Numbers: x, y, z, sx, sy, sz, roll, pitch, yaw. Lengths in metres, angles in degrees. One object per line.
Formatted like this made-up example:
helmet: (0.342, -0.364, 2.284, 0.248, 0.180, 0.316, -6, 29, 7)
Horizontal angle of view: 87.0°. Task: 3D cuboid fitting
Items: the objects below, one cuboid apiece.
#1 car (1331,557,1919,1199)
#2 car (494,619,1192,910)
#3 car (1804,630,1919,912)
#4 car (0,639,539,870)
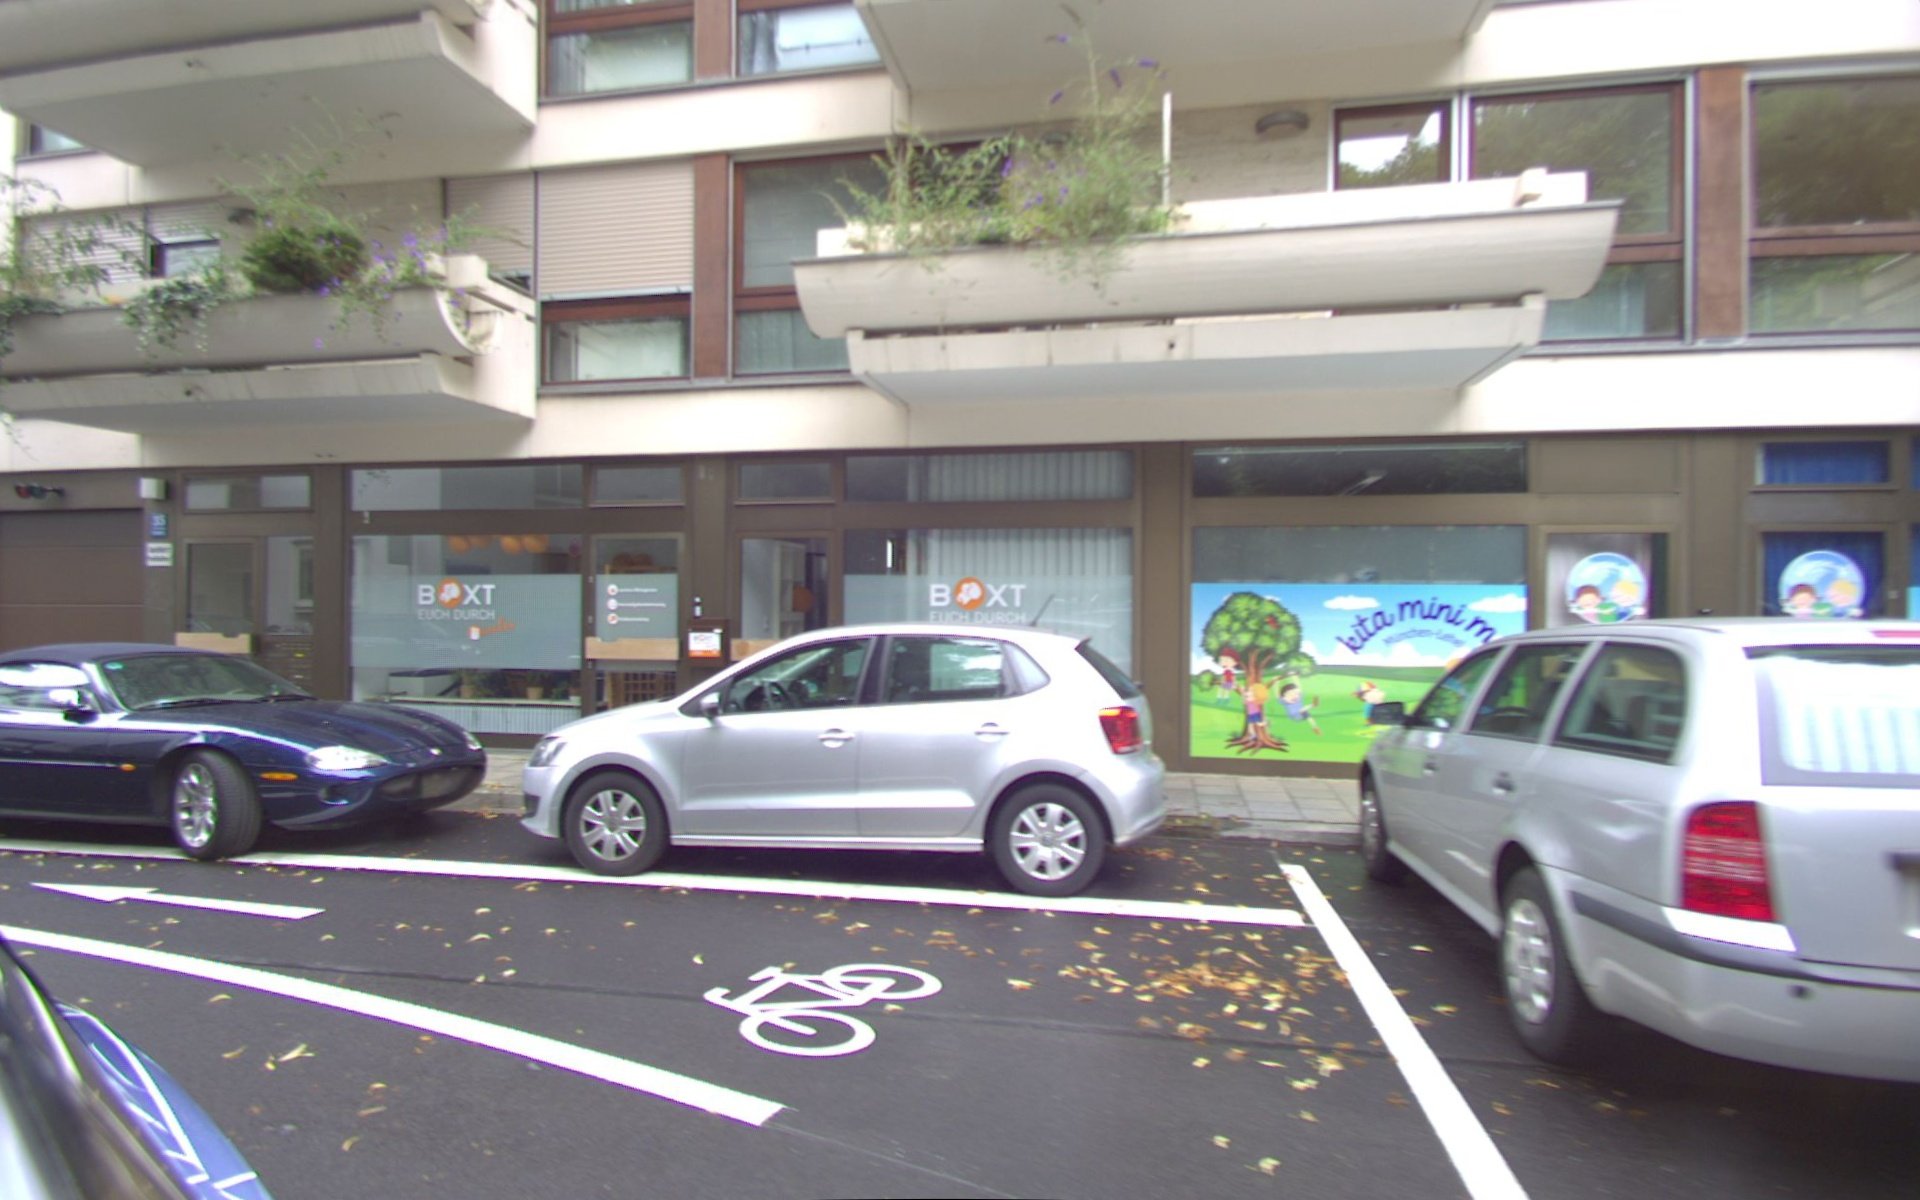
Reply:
car: (2.858, 0.742, 4.196, 1.702, 1.466, 4.228, 0, -3, 10)
car: (-0.608, 0.852, 6.103, 3.790, 1.432, 1.561, 0, -2, 10)
car: (5.327, 0.779, 3.597, 1.699, 1.378, 4.059, 0, -3, 10)
car: (-5.508, 0.917, 6.993, 4.566, 1.288, 1.797, 0, -2, 10)
